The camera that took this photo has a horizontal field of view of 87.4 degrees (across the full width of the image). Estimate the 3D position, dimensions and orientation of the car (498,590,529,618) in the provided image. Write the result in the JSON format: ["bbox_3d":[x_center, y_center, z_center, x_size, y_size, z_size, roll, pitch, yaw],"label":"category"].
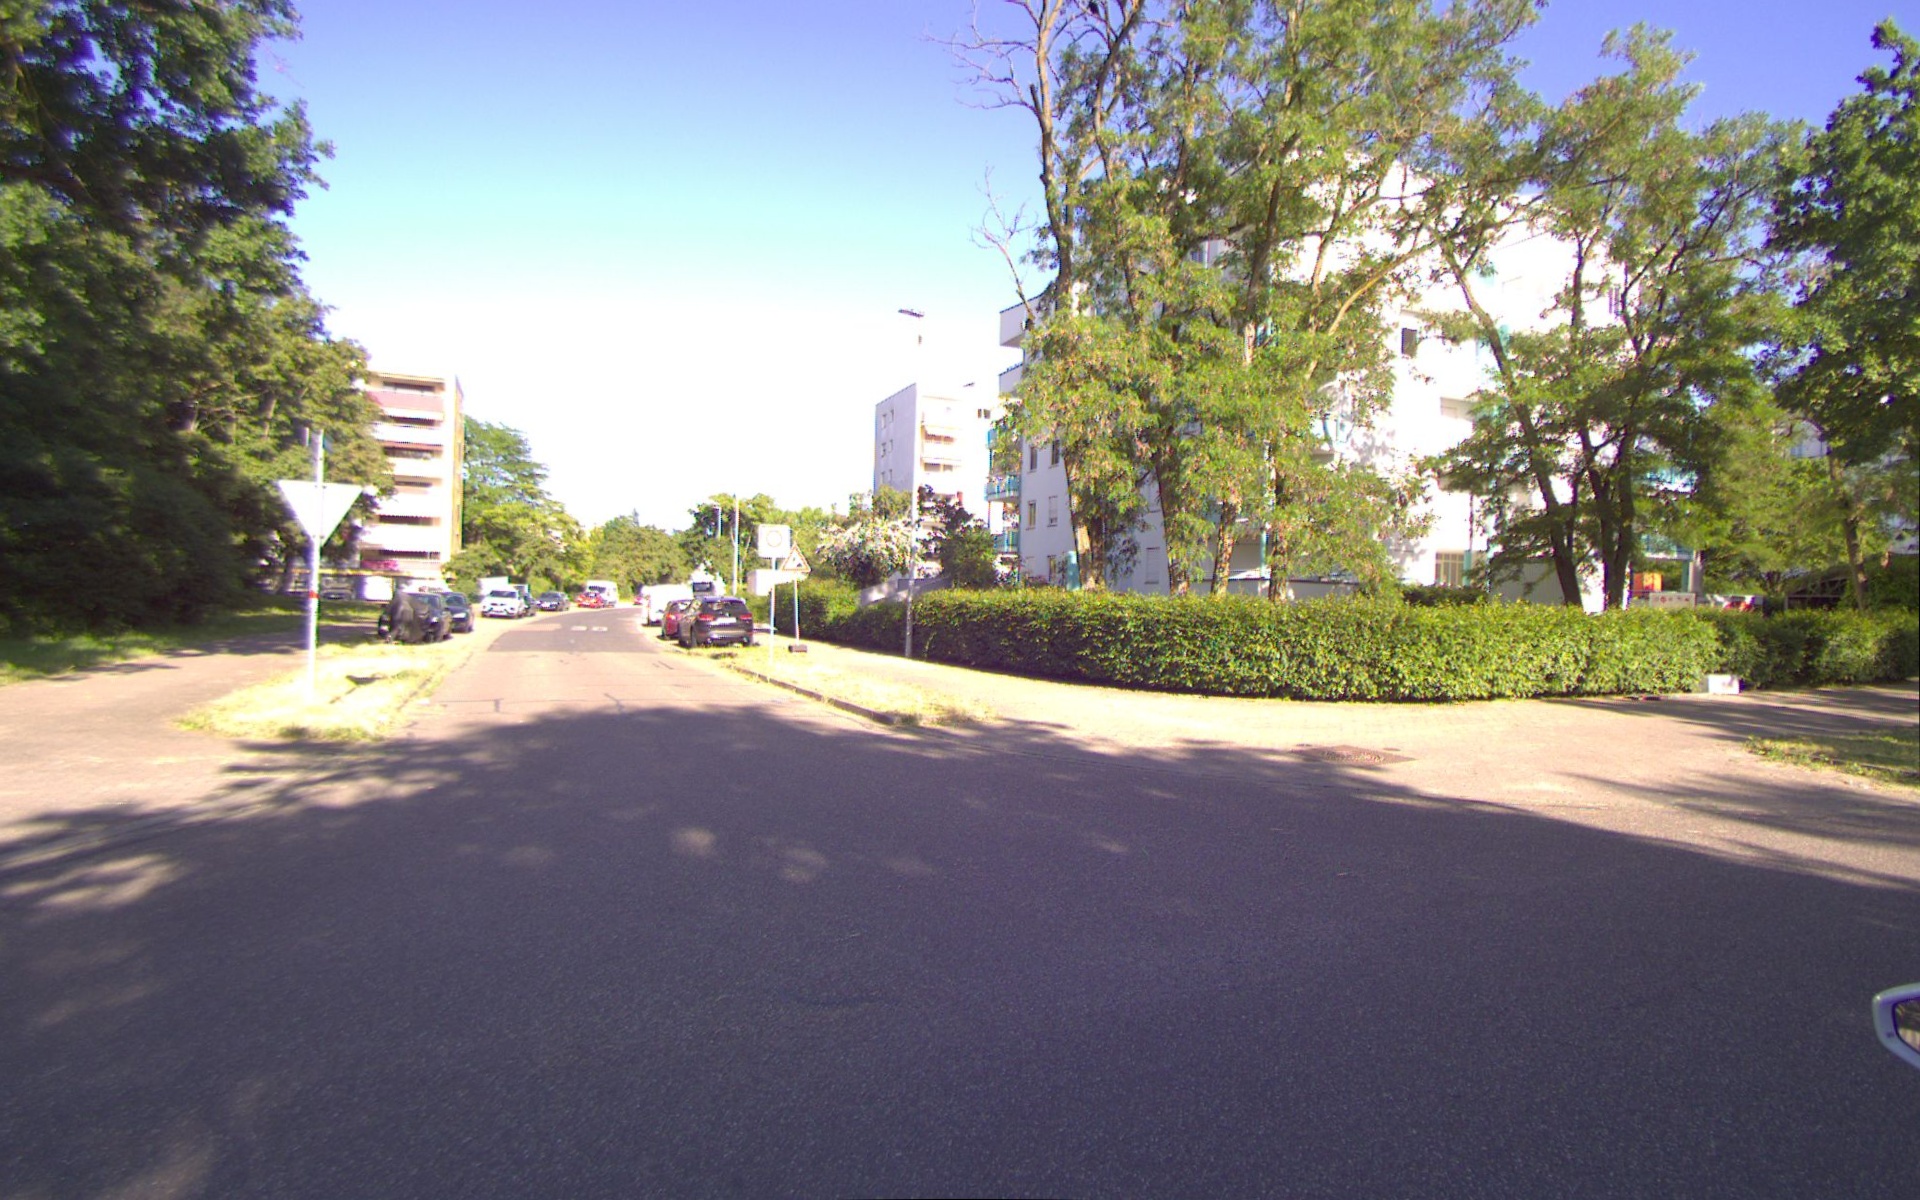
[{"bbox_3d":[-26.599,0.225,59.827,1.623,1.578,3.813,1,0,-24],"label":"car"}]

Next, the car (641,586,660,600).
[{"bbox_3d":[-38.764,-0.829,125.991,1.860,1.662,3.991,2,0,-12],"label":"car"}]

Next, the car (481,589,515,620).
[{"bbox_3d":[-25.051,0.214,54.553,1.623,1.578,3.813,1,0,-24],"label":"car"}]

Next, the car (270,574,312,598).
[{"bbox_3d":[-45.963,-0.984,69.089,1.775,1.547,3.813,1,0,-24],"label":"car"}]

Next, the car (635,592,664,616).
[{"bbox_3d":[-20.165,0.229,65.249,1.499,1.486,3.056,1,0,-23],"label":"car"}]

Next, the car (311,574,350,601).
[{"bbox_3d":[-44.112,-0.882,70.468,1.738,1.767,3.813,1,0,-24],"label":"car"}]

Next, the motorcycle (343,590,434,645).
[{"bbox_3d":[-14.972,0.451,26.369,0.664,1.362,1.955,2,0,34],"label":"motorcycle"}]

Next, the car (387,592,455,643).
[{"bbox_3d":[-16.346,0.509,30.591,1.538,1.410,3.567,1,0,-24],"label":"car"}]

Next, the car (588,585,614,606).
[{"bbox_3d":[-34.556,-0.476,96.757,1.950,1.925,3.989,2,0,-13],"label":"car"}]

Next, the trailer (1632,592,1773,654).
[{"bbox_3d":[26.022,0.811,35.209,4.365,2.070,1.972,1,0,-22],"label":"trailer"}]

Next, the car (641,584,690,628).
[{"bbox_3d":[-14.791,0.292,50.331,1.803,2.088,3.813,1,0,-24],"label":"car"}]

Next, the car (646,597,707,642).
[{"bbox_3d":[-10.555,0.698,37.213,1.615,1.531,3.813,1,0,-24],"label":"car"}]

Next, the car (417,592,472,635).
[{"bbox_3d":[-18.563,0.455,36.295,1.538,1.410,3.567,1,0,-24],"label":"car"}]

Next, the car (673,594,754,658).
[{"bbox_3d":[-7.656,0.752,30.942,1.732,1.808,3.813,1,0,-24],"label":"car"}]

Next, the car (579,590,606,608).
[{"bbox_3d":[-33.546,-0.097,91.702,1.796,1.617,3.989,2,0,-13],"label":"car"}]

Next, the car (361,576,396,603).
[{"bbox_3d":[-41.264,-0.748,71.377,1.738,1.767,3.813,1,0,-24],"label":"car"}]

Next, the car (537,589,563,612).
[{"bbox_3d":[-30.152,0.050,73.784,1.623,1.578,3.813,1,0,-24],"label":"car"}]
